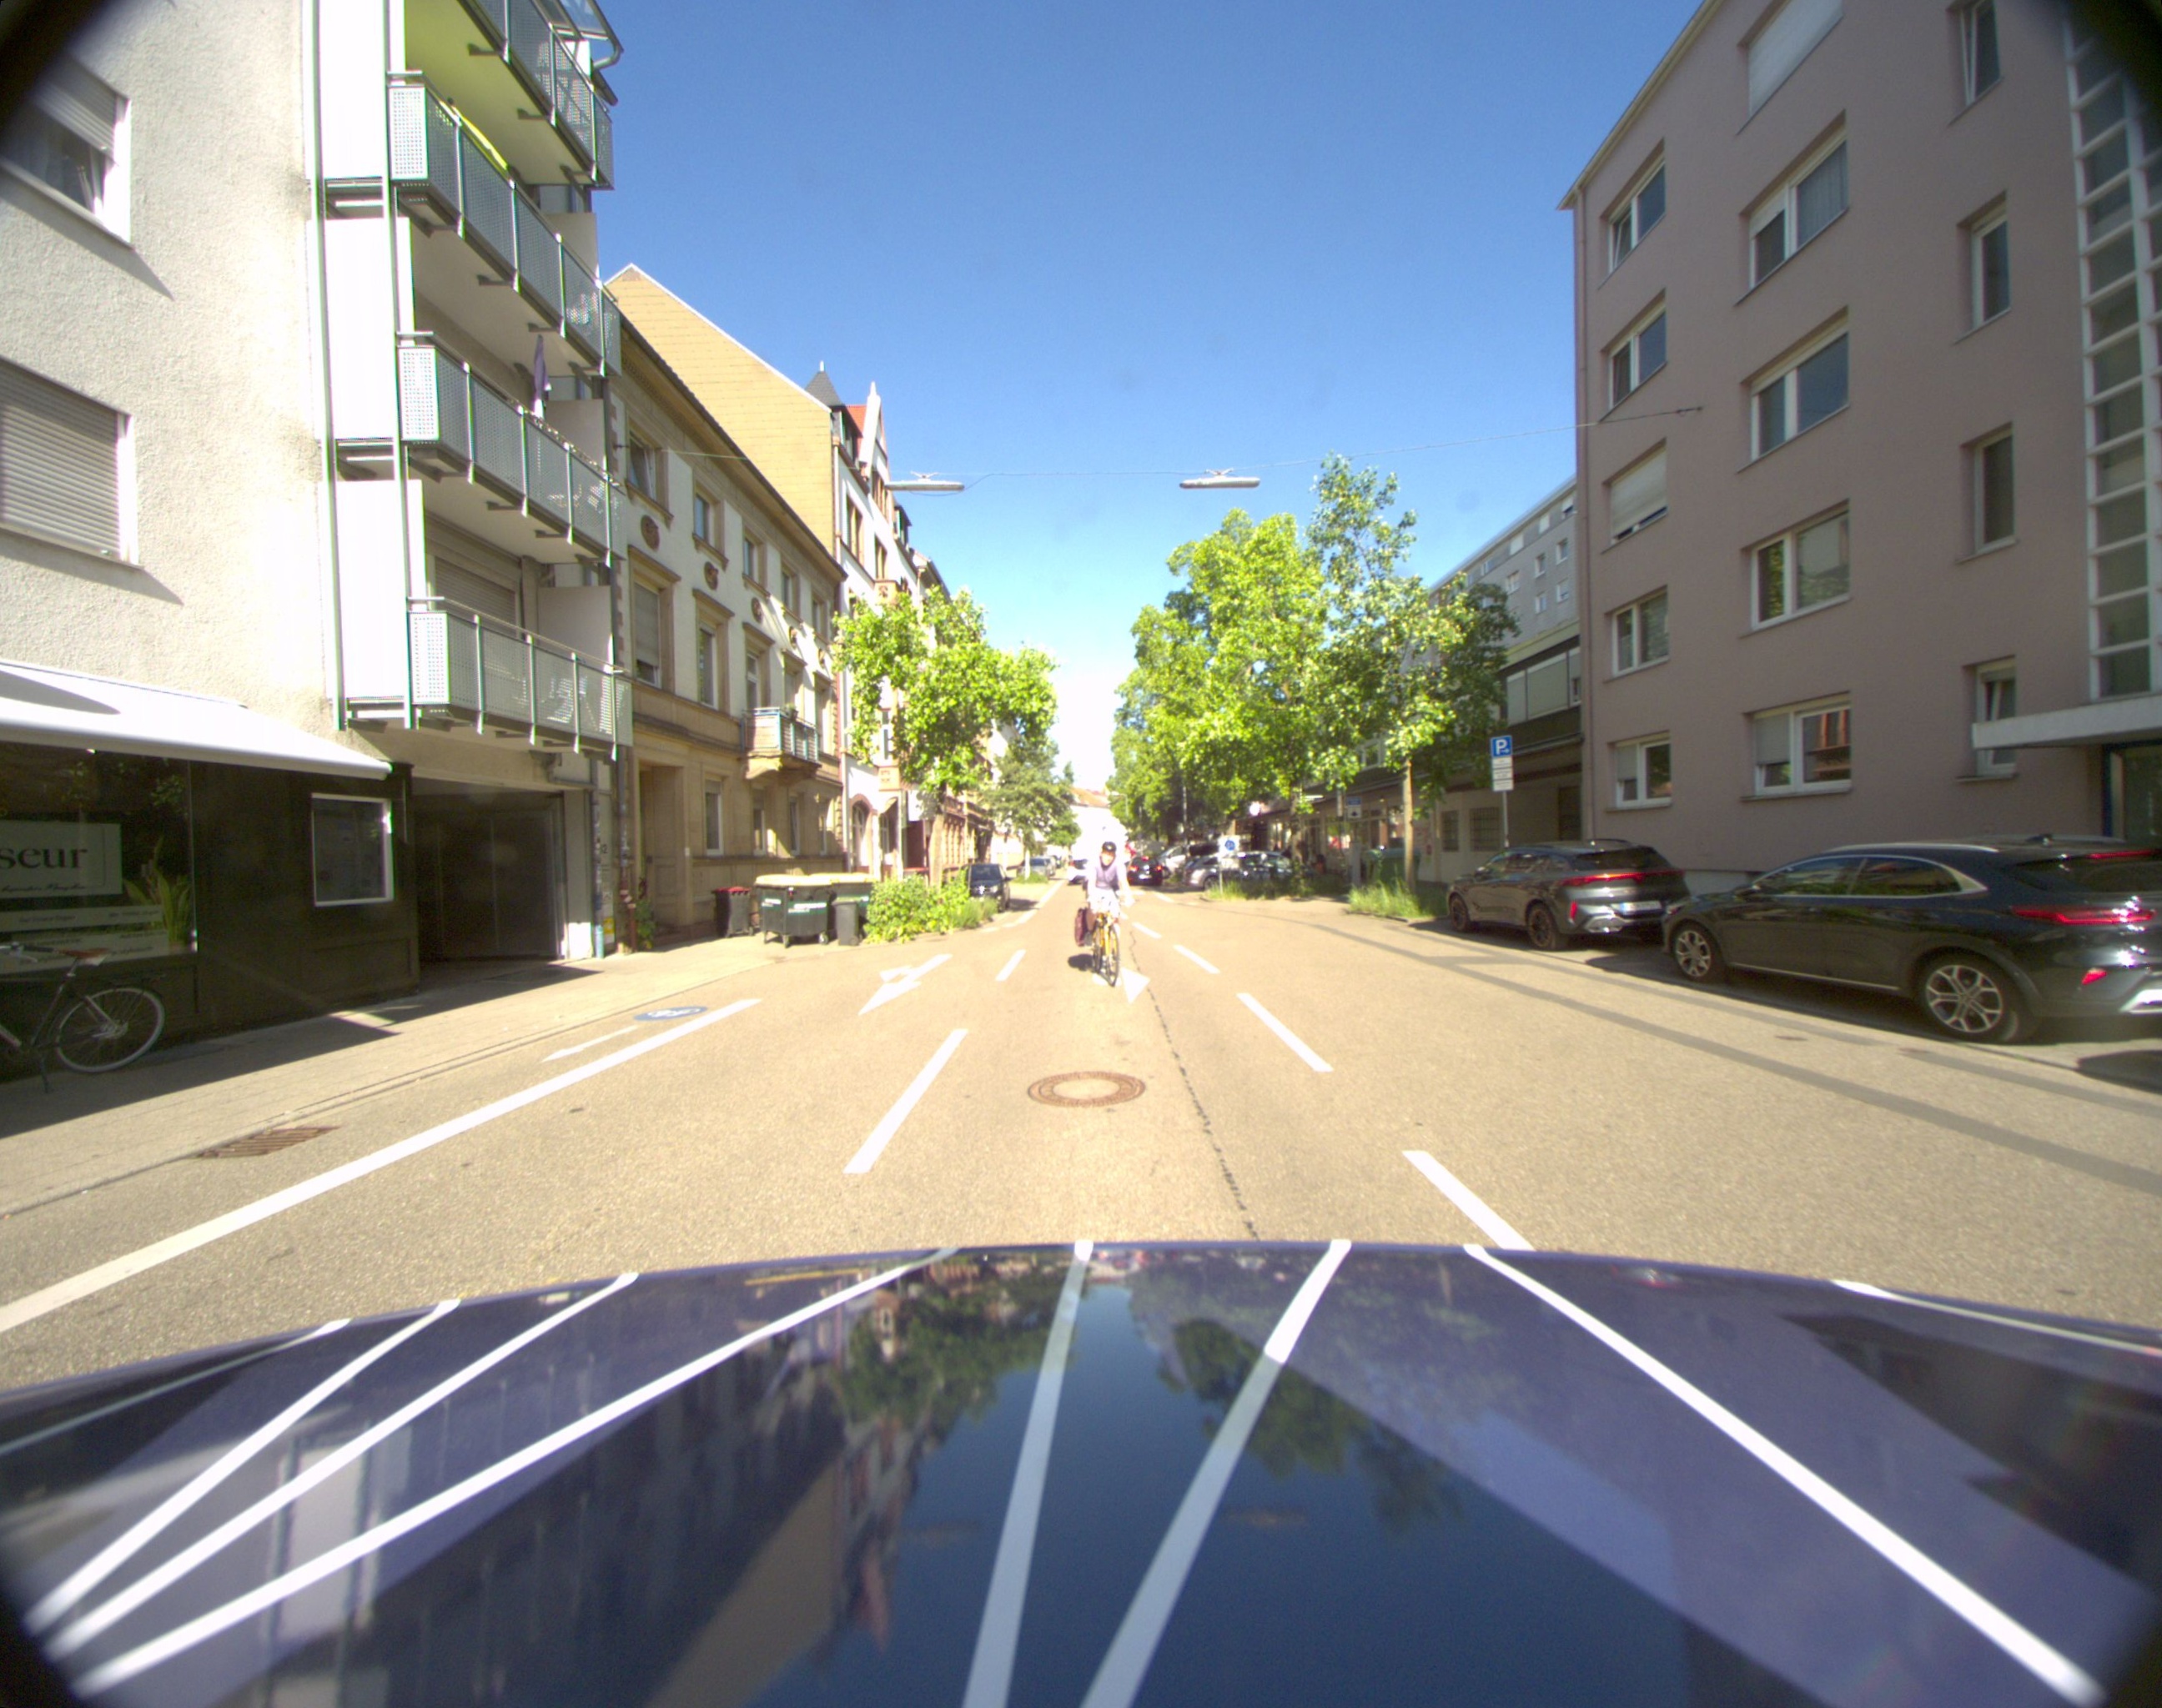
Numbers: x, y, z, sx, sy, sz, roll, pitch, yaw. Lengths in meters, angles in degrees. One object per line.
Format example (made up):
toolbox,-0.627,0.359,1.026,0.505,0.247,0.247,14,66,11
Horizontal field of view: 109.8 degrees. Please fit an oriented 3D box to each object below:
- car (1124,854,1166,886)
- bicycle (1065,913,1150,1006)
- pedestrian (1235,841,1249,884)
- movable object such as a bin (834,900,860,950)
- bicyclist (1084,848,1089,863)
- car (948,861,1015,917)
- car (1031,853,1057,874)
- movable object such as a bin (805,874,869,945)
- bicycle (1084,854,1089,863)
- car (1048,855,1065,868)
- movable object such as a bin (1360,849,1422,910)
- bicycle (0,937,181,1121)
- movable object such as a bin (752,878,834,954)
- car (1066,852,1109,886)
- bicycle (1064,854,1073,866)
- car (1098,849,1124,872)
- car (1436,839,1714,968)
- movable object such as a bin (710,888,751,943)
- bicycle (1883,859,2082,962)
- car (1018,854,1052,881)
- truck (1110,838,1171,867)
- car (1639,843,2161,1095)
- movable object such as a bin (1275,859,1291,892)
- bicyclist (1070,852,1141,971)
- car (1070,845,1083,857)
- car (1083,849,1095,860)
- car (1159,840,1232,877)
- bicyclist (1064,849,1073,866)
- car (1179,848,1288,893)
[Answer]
car,3.116,0.753,37.585,1.867,1.455,4.000,-2,0,3
bicycle,0.267,1.209,9.154,0.612,0.876,1.812,-1,-1,-11
pedestrian,7.485,0.395,35.328,0.565,2.002,0.754,-1,1,6
movable object such as a bin,-4.585,1.388,14.886,0.401,0.916,0.484,0,2,-7
bicyclist,0.680,0.225,100.328,0.578,1.911,0.613,-3,1,1
car,-2.977,1.017,23.362,1.551,1.483,3.351,-2,0,0
car,-2.641,0.660,55.200,1.653,1.483,3.290,-2,0,0
movable object such as a bin,-5.092,1.127,15.851,0.960,1.341,1.066,-1,2,-38
bicycle,0.703,0.604,100.330,0.570,1.139,2.259,-3,1,1
car,-2.742,0.853,85.963,1.653,1.447,3.290,-2,0,1
movable object such as a bin,8.127,0.644,19.991,1.247,1.536,1.019,-2,1,5
bicycle,-7.752,1.284,5.443,0.402,1.171,1.792,-2,0,1
movable object such as a bin,-5.595,1.164,14.774,1.212,1.318,1.052,2,3,42
car,0.372,0.722,39.657,1.769,1.528,3.787,-4,1,6
bicycle,-1.160,0.563,72.338,0.778,1.139,2.259,-3,1,1
car,2.433,0.513,62.925,1.994,1.599,4.259,-3,3,1
car,7.584,0.653,12.255,1.821,1.583,4.141,-5,0,2
movable object such as a bin,-7.326,1.275,15.890,0.615,1.075,0.568,2,3,42
bicycle,10.754,0.624,9.152,0.391,1.070,1.650,-6,1,2
car,-2.754,0.772,45.885,1.759,1.492,3.949,-2,0,0
truck,5.584,-0.178,71.666,5.322,2.581,1.998,-2,1,-9
car,7.510,0.715,6.903,1.821,1.499,4.245,-4,0,2
movable object such as a bin,7.612,0.792,28.673,0.488,1.218,0.409,-2,1,1
bicyclist,0.275,0.666,9.209,0.610,1.338,1.017,-1,0,-11
car,-0.706,-0.510,126.689,1.998,2.002,4.000,-2,0,1
car,1.246,0.119,115.023,1.826,1.617,4.000,-2,0,1
car,6.698,0.273,44.774,3.997,2.020,2.000,-2,1,1
bicyclist,-1.170,0.336,72.362,0.748,1.588,0.613,-3,1,1
car,6.081,0.643,30.666,3.997,1.665,2.000,-2,1,1
